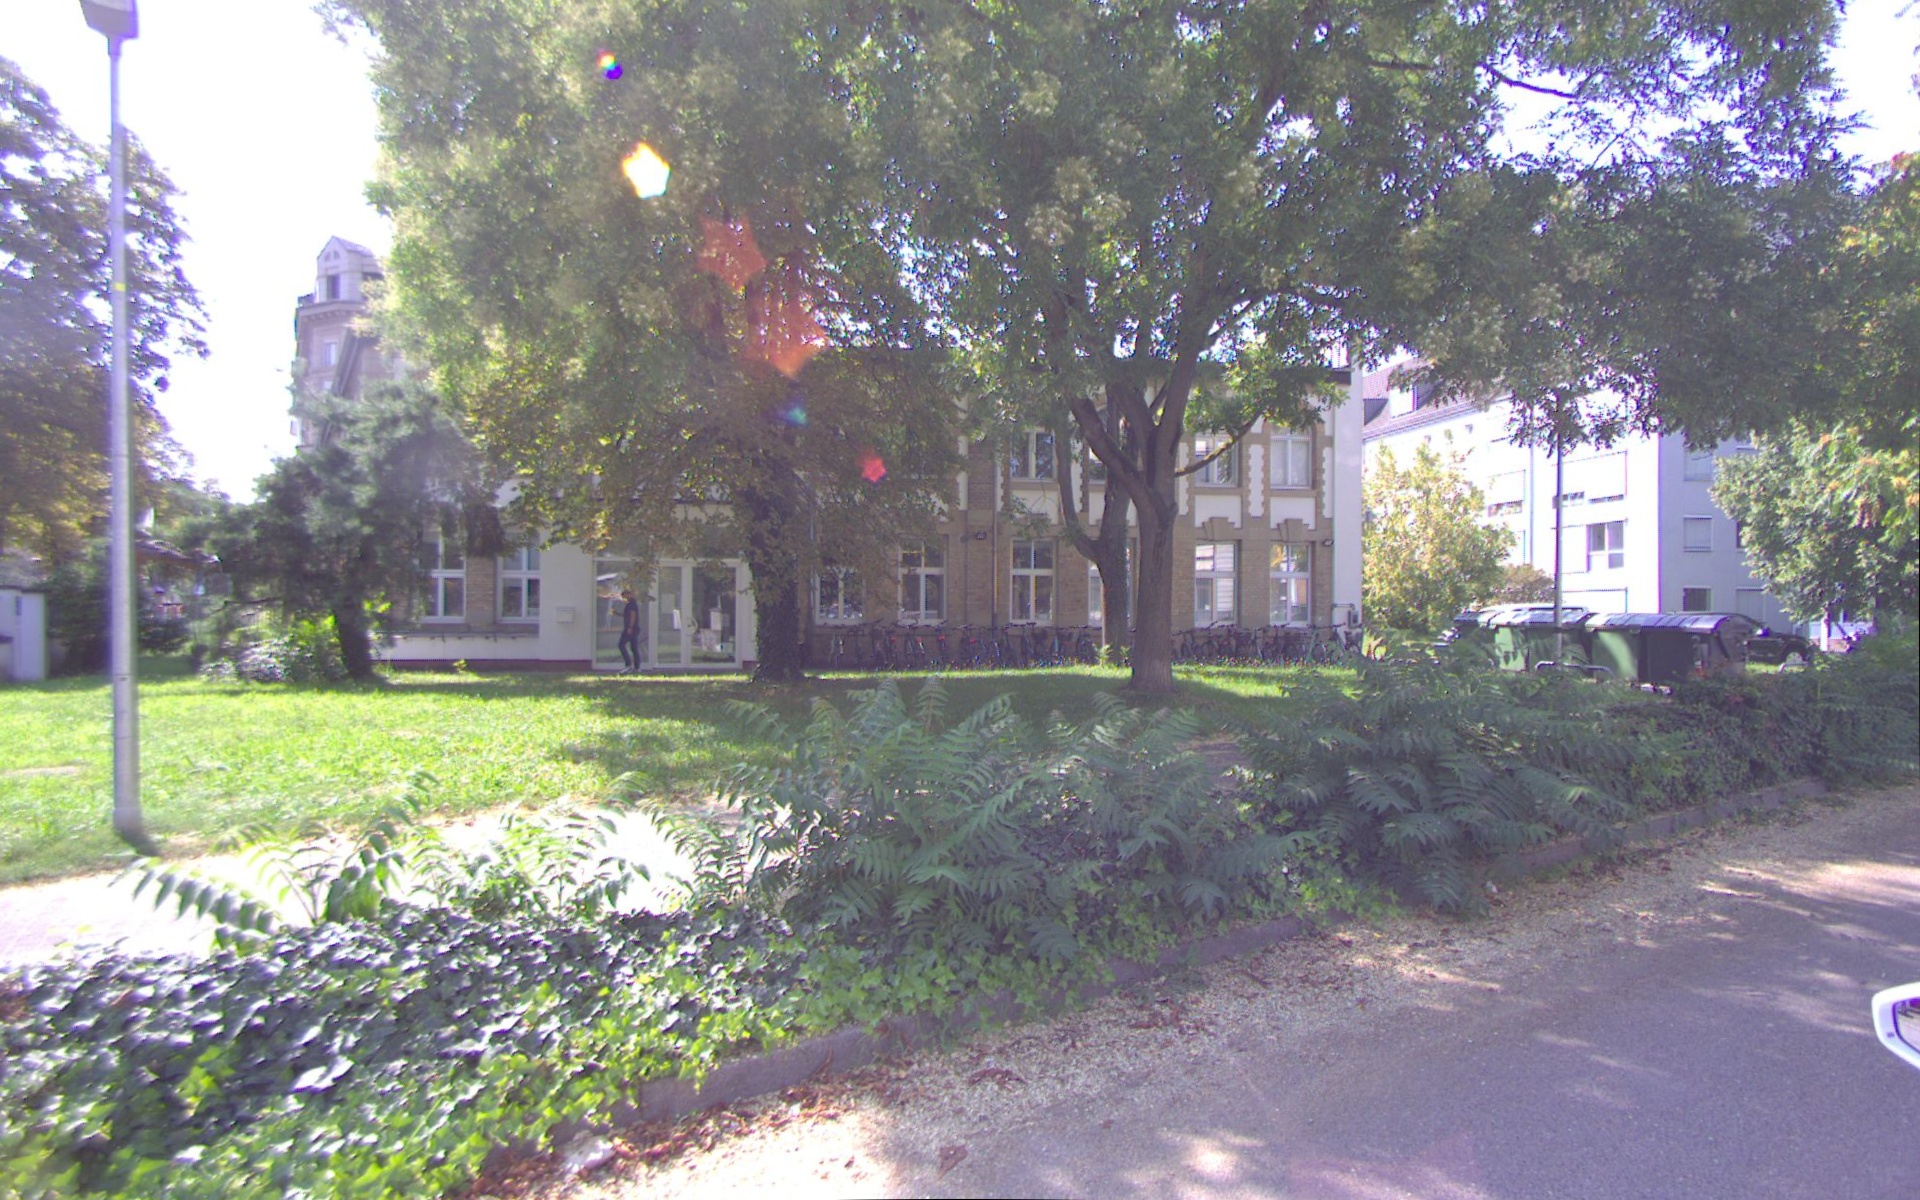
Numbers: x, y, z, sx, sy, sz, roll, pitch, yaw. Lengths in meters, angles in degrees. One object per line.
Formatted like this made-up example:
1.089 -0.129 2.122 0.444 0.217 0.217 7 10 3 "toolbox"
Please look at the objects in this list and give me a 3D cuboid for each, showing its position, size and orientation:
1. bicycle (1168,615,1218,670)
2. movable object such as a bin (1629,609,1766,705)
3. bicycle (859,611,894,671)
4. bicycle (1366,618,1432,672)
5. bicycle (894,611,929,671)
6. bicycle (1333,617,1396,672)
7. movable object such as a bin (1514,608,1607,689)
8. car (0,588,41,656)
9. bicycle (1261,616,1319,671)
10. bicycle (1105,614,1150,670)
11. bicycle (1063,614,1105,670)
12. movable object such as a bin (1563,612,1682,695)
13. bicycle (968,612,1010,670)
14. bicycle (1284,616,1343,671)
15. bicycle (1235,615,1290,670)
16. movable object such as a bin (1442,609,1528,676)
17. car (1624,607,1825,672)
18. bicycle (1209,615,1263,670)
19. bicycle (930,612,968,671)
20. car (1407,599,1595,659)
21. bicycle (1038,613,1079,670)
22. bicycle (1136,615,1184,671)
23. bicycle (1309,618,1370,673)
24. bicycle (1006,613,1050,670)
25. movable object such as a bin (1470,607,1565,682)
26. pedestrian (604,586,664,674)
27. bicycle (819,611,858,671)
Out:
5.749 1.035 24.913 0.597 1.320 2.172 1 -1 -4 "bicycle"
12.350 0.924 16.849 1.316 1.513 1.366 1 0 -22 "movable object such as a bin"
-1.929 0.937 23.412 0.757 1.320 2.525 1 -1 -4 "bicycle"
11.198 1.128 25.714 0.597 1.320 2.172 1 -1 -4 "bicycle"
-1.157 0.950 23.646 0.757 1.320 2.525 1 -1 -4 "bicycle"
10.237 1.113 25.502 0.597 1.320 2.172 1 -1 -4 "bicycle"
11.697 0.929 19.595 1.082 1.501 1.098 1 0 -14 "movable object such as a bin"
-35.614 0.786 37.006 1.980 2.396 3.962 2 -2 -34 "car"
8.239 1.074 25.176 0.597 1.320 2.172 1 -1 -4 "bicycle"
4.136 1.029 24.885 0.597 1.320 2.172 1 -1 -4 "bicycle"
3.019 1.013 24.641 0.597 1.320 2.172 1 -1 -4 "bicycle"
12.124 0.953 18.426 1.229 1.451 1.328 1 0 -14 "movable object such as a bin"
0.684 0.982 24.266 0.757 1.320 2.525 1 -1 -4 "bicycle"
8.898 1.084 25.350 0.597 1.320 2.172 1 -1 -4 "bicycle"
7.562 1.055 25.213 0.597 1.320 2.172 1 -1 -4 "bicycle"
11.906 0.942 22.801 1.228 1.463 1.203 1 0 -14 "movable object such as a bin"
19.227 0.977 25.369 3.836 1.548 1.707 0 -1 -2 "car"
6.832 1.038 24.988 0.597 1.320 2.172 1 -1 -4 "bicycle"
-0.285 0.963 23.858 0.757 1.320 2.525 1 -1 -4 "bicycle"
17.875 0.944 33.365 4.988 1.906 2.500 0 -1 -5 "car"
2.377 1.005 24.539 0.615 1.320 2.272 1 -1 -4 "bicycle"
4.904 1.034 24.783 0.597 1.320 2.172 1 -1 -4 "bicycle"
9.569 1.131 25.433 0.597 1.320 2.172 1 -1 -4 "bicycle"
1.623 0.994 24.387 0.757 1.320 2.272 1 -1 -4 "bicycle"
11.650 0.917 21.026 1.228 1.515 1.203 1 0 -14 "movable object such as a bin"
-7.032 0.642 21.688 1.109 1.853 0.735 0 0 -8 "pedestrian"
-2.808 0.930 23.464 0.757 1.320 2.525 1 -1 -4 "bicycle"
